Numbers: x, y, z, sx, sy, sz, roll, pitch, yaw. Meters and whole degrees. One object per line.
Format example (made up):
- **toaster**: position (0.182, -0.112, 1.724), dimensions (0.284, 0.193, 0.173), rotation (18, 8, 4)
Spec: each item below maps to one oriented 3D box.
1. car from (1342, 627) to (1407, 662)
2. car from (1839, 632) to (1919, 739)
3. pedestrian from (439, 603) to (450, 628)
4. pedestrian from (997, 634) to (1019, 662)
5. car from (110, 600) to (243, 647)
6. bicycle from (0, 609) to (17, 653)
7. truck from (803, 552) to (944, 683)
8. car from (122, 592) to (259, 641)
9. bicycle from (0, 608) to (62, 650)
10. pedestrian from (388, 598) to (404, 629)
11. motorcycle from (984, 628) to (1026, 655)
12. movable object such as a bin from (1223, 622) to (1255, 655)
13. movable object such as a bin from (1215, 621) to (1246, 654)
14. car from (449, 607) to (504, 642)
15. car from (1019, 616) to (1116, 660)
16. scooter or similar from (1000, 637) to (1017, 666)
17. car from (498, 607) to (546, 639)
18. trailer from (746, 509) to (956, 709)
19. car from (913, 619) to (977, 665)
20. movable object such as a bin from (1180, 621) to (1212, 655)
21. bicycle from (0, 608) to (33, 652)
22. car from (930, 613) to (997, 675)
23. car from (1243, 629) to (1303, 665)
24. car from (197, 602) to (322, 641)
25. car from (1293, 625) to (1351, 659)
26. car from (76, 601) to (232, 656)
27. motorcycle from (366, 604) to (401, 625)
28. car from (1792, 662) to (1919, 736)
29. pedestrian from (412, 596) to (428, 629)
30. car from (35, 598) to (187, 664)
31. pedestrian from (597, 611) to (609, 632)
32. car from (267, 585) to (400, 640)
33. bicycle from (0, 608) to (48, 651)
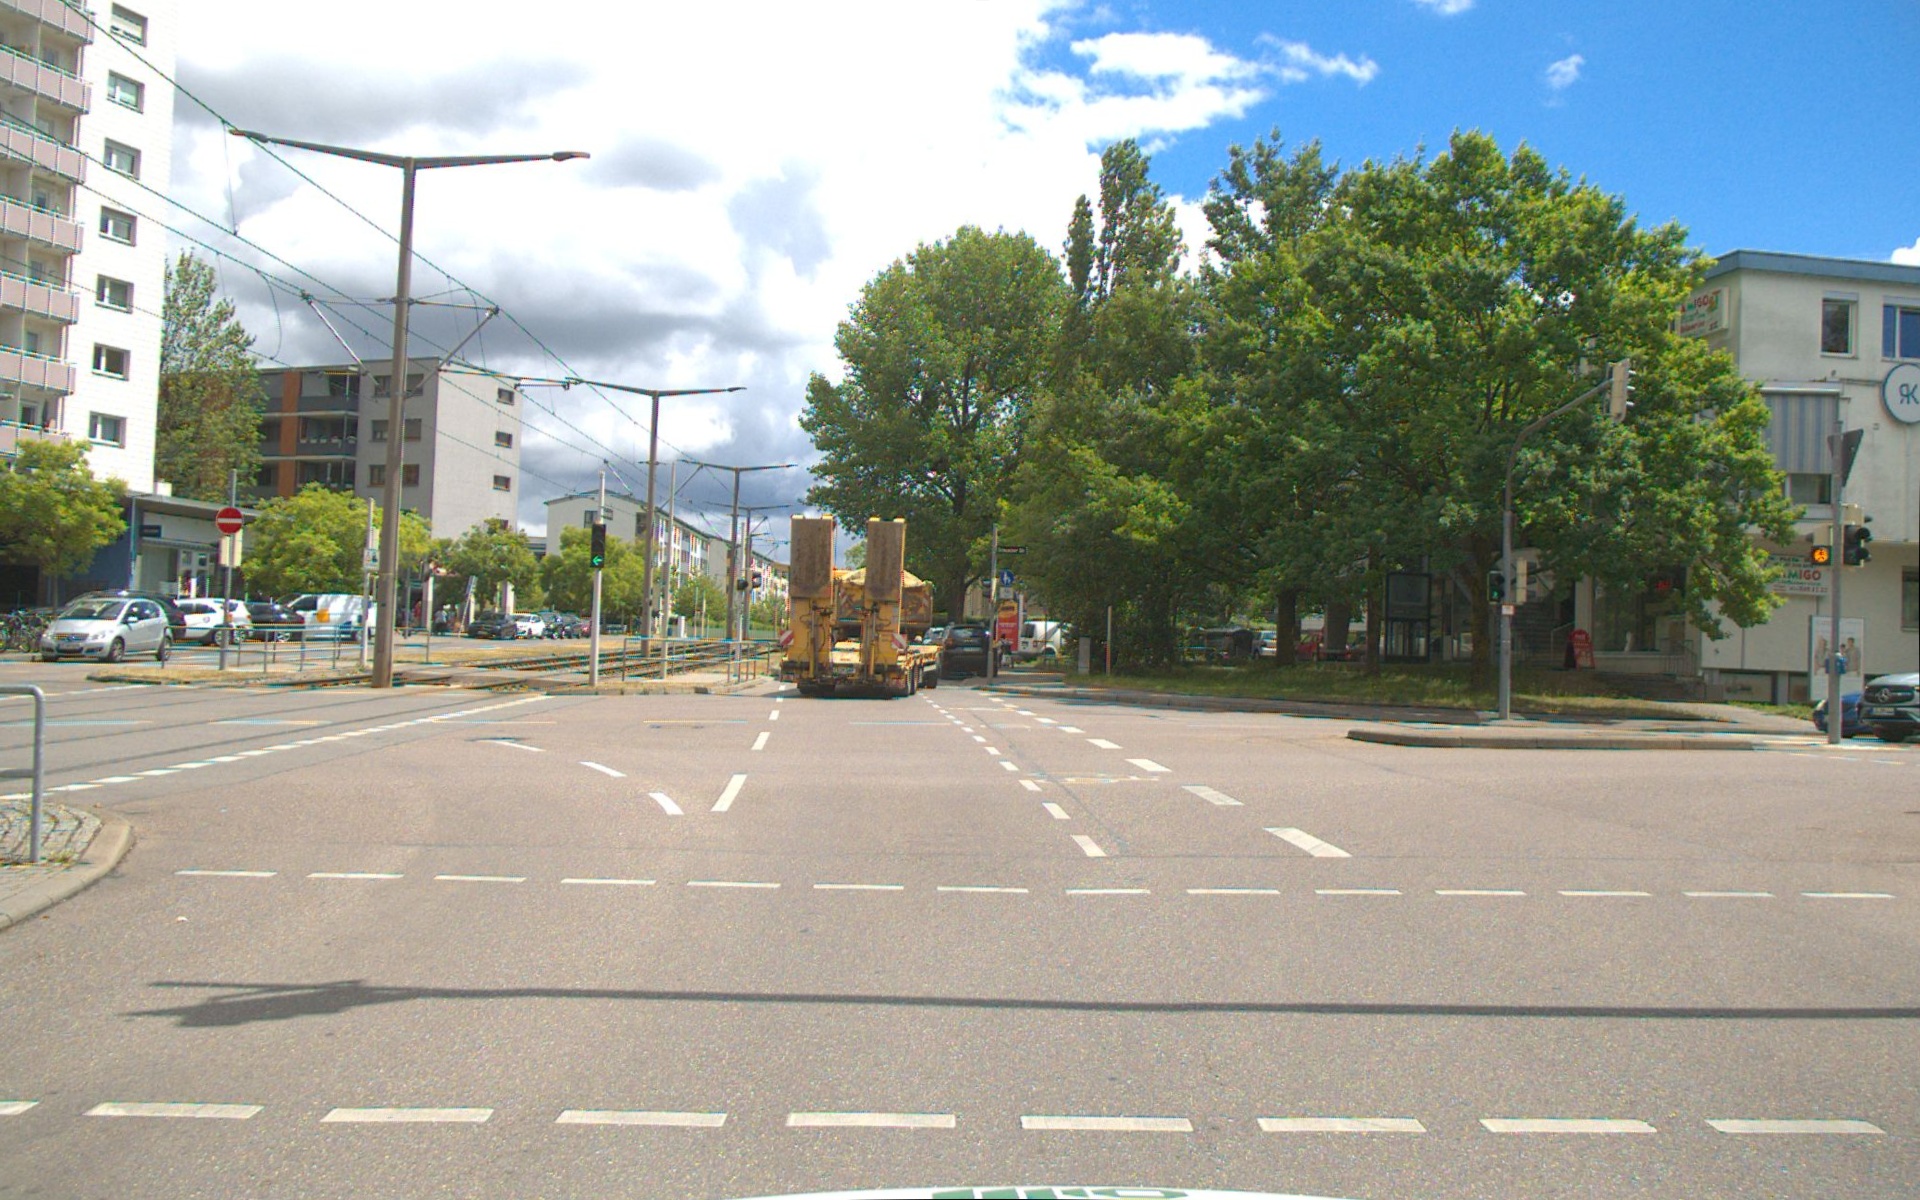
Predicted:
- **car**: position (19.145, 2.029, 76.541), dimensions (1.709, 1.496, 3.997), rotation (1, 0, -4)
- **car**: position (16.611, 1.376, 26.163), dimensions (4.555, 1.620, 1.919), rotation (1, -3, -9)
- **pedestrian**: position (-30.401, 0.904, 97.521), dimensions (0.492, 1.486, 0.555), rotation (1, -1, -31)
- **pedestrian**: position (1.856, 1.842, 63.817), dimensions (0.761, 1.073, 0.546), rotation (1, -1, -10)
- **car**: position (-26.490, 0.806, 55.994), dimensions (3.736, 1.522, 1.720), rotation (1, -1, -43)
- **bicycle**: position (-24.851, 0.743, 41.080), dimensions (2.378, 1.085, 0.704), rotation (1, -1, -2)
- **truck**: position (-2.612, 0.477, 47.153), dimensions (2.784, 3.389, 7.960), rotation (1, 0, -12)
- **car**: position (-27.239, 0.588, 58.621), dimensions (1.872, 1.660, 3.977), rotation (1, -1, 41)
- **bicycle**: position (-25.018, 0.753, 43.473), dimensions (2.378, 1.085, 0.704), rotation (1, -1, -2)
- **pedestrian**: position (-29.738, 0.709, 87.187), dimensions (0.656, 1.601, 0.681), rotation (1, -1, -31)
- **motorcycle**: position (2.082, 1.923, 76.530), dimensions (1.773, 1.231, 0.706), rotation (1, -1, -26)
- **movable object such as a bin**: position (12.478, 1.719, 74.091), dimensions (1.093, 1.455, 1.284), rotation (1, -1, -6)
- **movable object such as a bin**: position (12.339, 1.712, 75.439), dimensions (1.093, 1.455, 1.284), rotation (1, -1, -6)
- **car**: position (-25.526, 1.266, 87.447), dimensions (1.955, 1.692, 4.095), rotation (3, 0, -5)
- **car**: position (4.731, 1.660, 72.830), dimensions (3.939, 1.855, 1.795), rotation (1, -1, -27)
- **scooter or similar**: position (1.862, 1.985, 63.827), dimensions (0.468, 1.073, 0.895), rotation (1, -1, -9)
- **car**: position (-25.531, 1.325, 96.443), dimensions (1.955, 1.692, 4.095), rotation (3, 0, -5)
- **trailer**: position (-2.138, 0.209, 37.925), dimensions (2.986, 3.839, 11.618), rotation (1, 0, 5)
- **car**: position (-0.598, 1.524, 61.180), dimensions (1.750, 1.592, 4.561), rotation (1, 0, -8)
- **movable object such as a bin**: position (10.434, 1.664, 73.092), dimensions (1.093, 1.455, 1.284), rotation (1, -1, -6)
- **bicycle**: position (-24.933, 0.746, 41.963), dimensions (2.378, 1.085, 0.704), rotation (1, -1, -2)
- **car**: position (0.062, 1.343, 51.965), dimensions (1.612, 1.793, 4.564), rotation (1, 0, -6)
- **car**: position (14.467, 2.162, 76.669), dimensions (1.901, 1.516, 3.999), rotation (1, 0, -1)
- **car**: position (-26.594, 0.813, 62.852), dimensions (1.875, 1.408, 3.970), rotation (1, -1, 45)
- **car**: position (16.834, 1.945, 77.071), dimensions (1.708, 1.468, 3.999), rotation (1, 0, -1)
- **car**: position (-25.284, 0.885, 51.971), dimensions (1.897, 1.619, 3.979), rotation (1, -1, 40)
- **motorcycle**: position (-35.088, 0.874, 100.718), dimensions (1.855, 1.199, 0.740), rotation (1, -1, -6)
- **car**: position (17.202, 1.769, 29.447), dimensions (3.886, 1.247, 1.909), rotation (1, -3, -9)
- **pedestrian**: position (-29.871, 0.678, 91.489), dimensions (0.599, 1.824, 0.843), rotation (1, -1, -4)
- **car**: position (-21.237, 0.751, 41.535), dimensions (1.781, 1.559, 3.755), rotation (1, 0, 1)
- **pedestrian**: position (-28.530, 1.732, 132.160), dimensions (0.734, 1.691, 0.869), rotation (1, -1, 1)
- **car**: position (-25.502, 0.522, 67.428), dimensions (1.875, 2.194, 4.727), rotation (0, -1, 45)
- **bicycle**: position (-24.963, 0.750, 42.713), dimensions (2.378, 1.085, 0.704), rotation (1, -1, -2)
